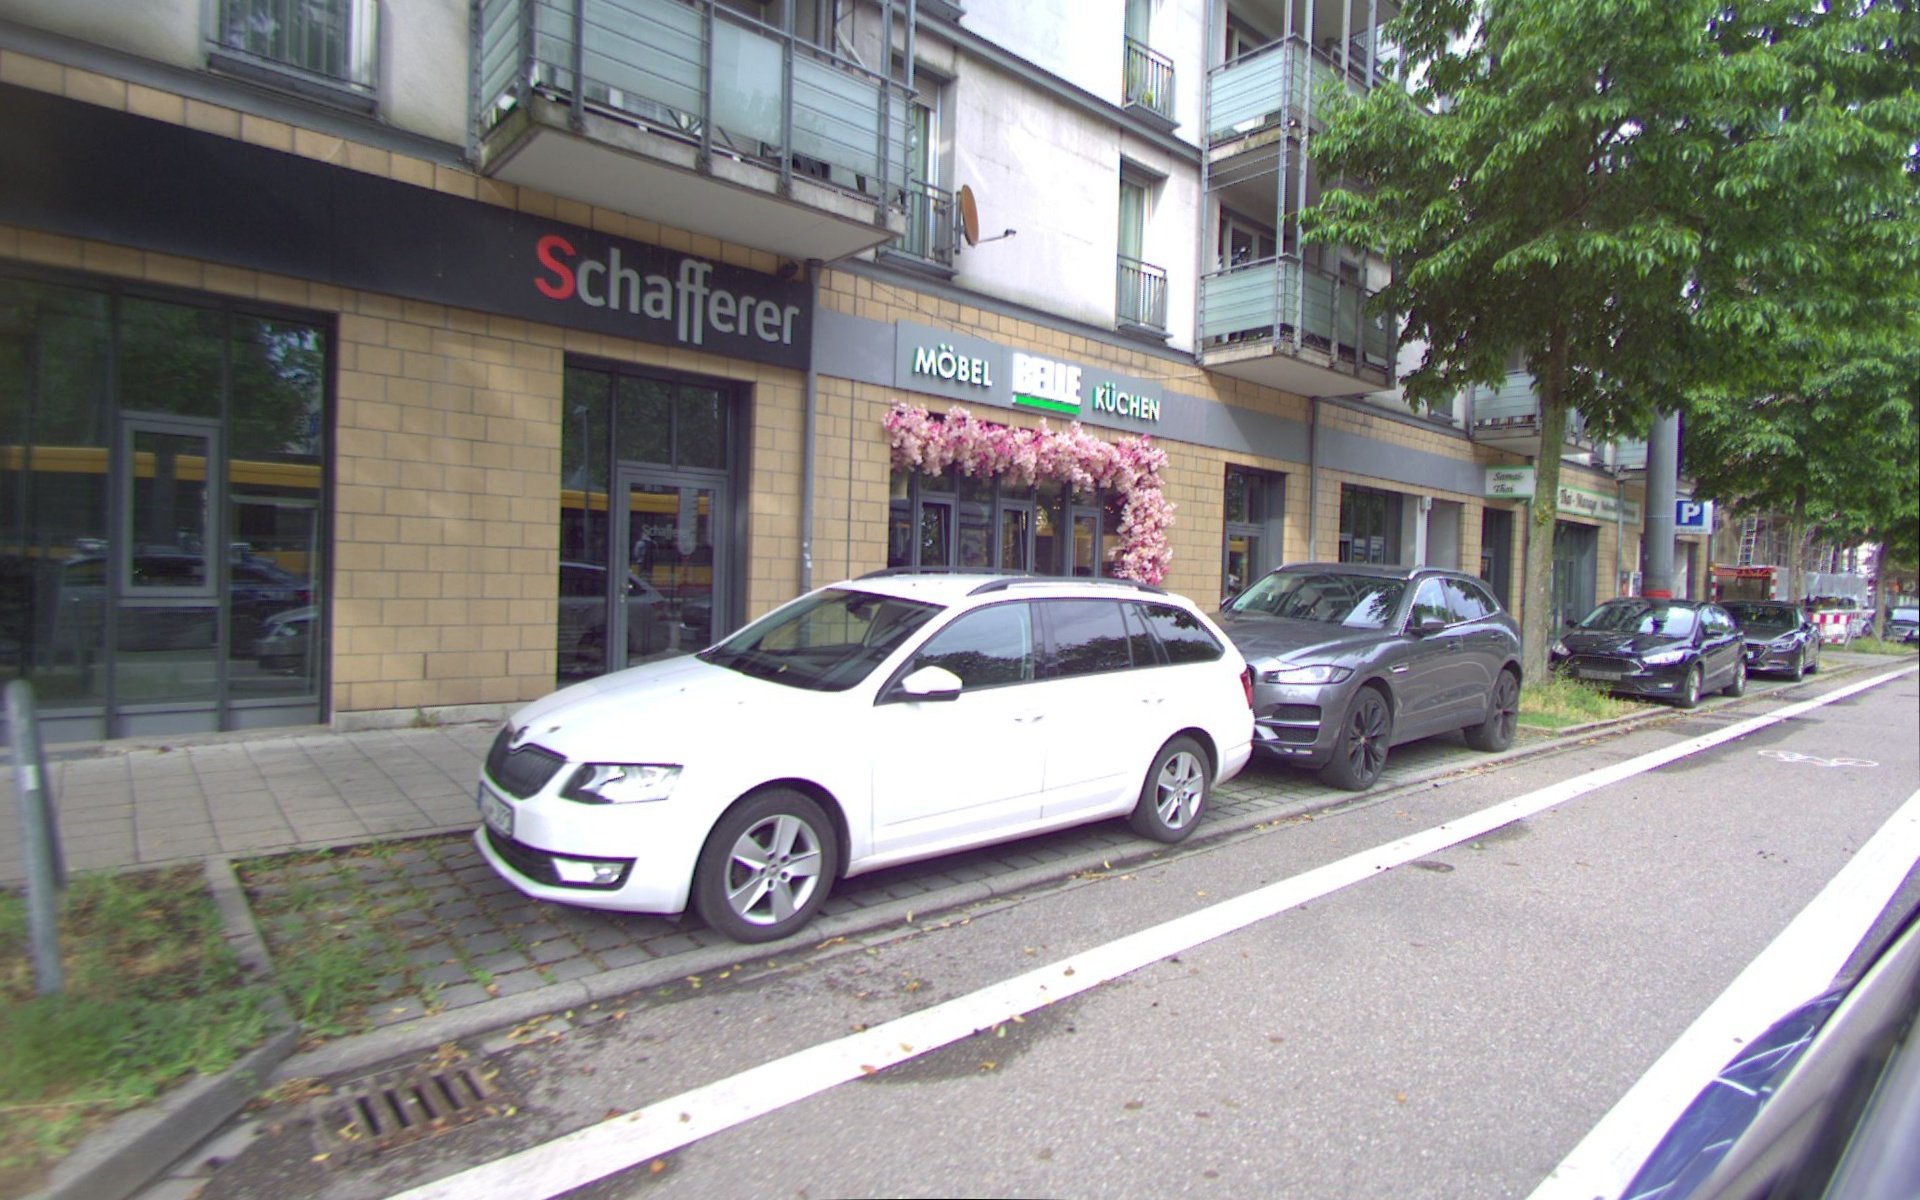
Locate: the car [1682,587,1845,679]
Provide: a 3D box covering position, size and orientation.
[{"bbox_3d":[15.816,0.562,19.845,4.315,1.472,1.801,0,5,-43],"label":"car"}]

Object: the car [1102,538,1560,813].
[{"bbox_3d":[3.424,0.445,8.783,4.631,1.737,1.715,0,5,-43],"label":"car"}]

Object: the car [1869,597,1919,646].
[{"bbox_3d":[31.822,0.707,33.719,4.206,1.478,1.754,0,4,-42],"label":"car"}]

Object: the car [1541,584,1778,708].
[{"bbox_3d":[10.317,0.571,14.803,4.329,1.459,1.681,0,4,-40],"label":"car"}]

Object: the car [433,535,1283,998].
[{"bbox_3d":[-0.257,0.527,5.443,4.312,1.516,1.681,0,4,-40],"label":"car"}]

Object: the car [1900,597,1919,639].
[{"bbox_3d":[36.382,0.700,37.543,4.206,1.478,1.754,0,4,-42],"label":"car"}]
